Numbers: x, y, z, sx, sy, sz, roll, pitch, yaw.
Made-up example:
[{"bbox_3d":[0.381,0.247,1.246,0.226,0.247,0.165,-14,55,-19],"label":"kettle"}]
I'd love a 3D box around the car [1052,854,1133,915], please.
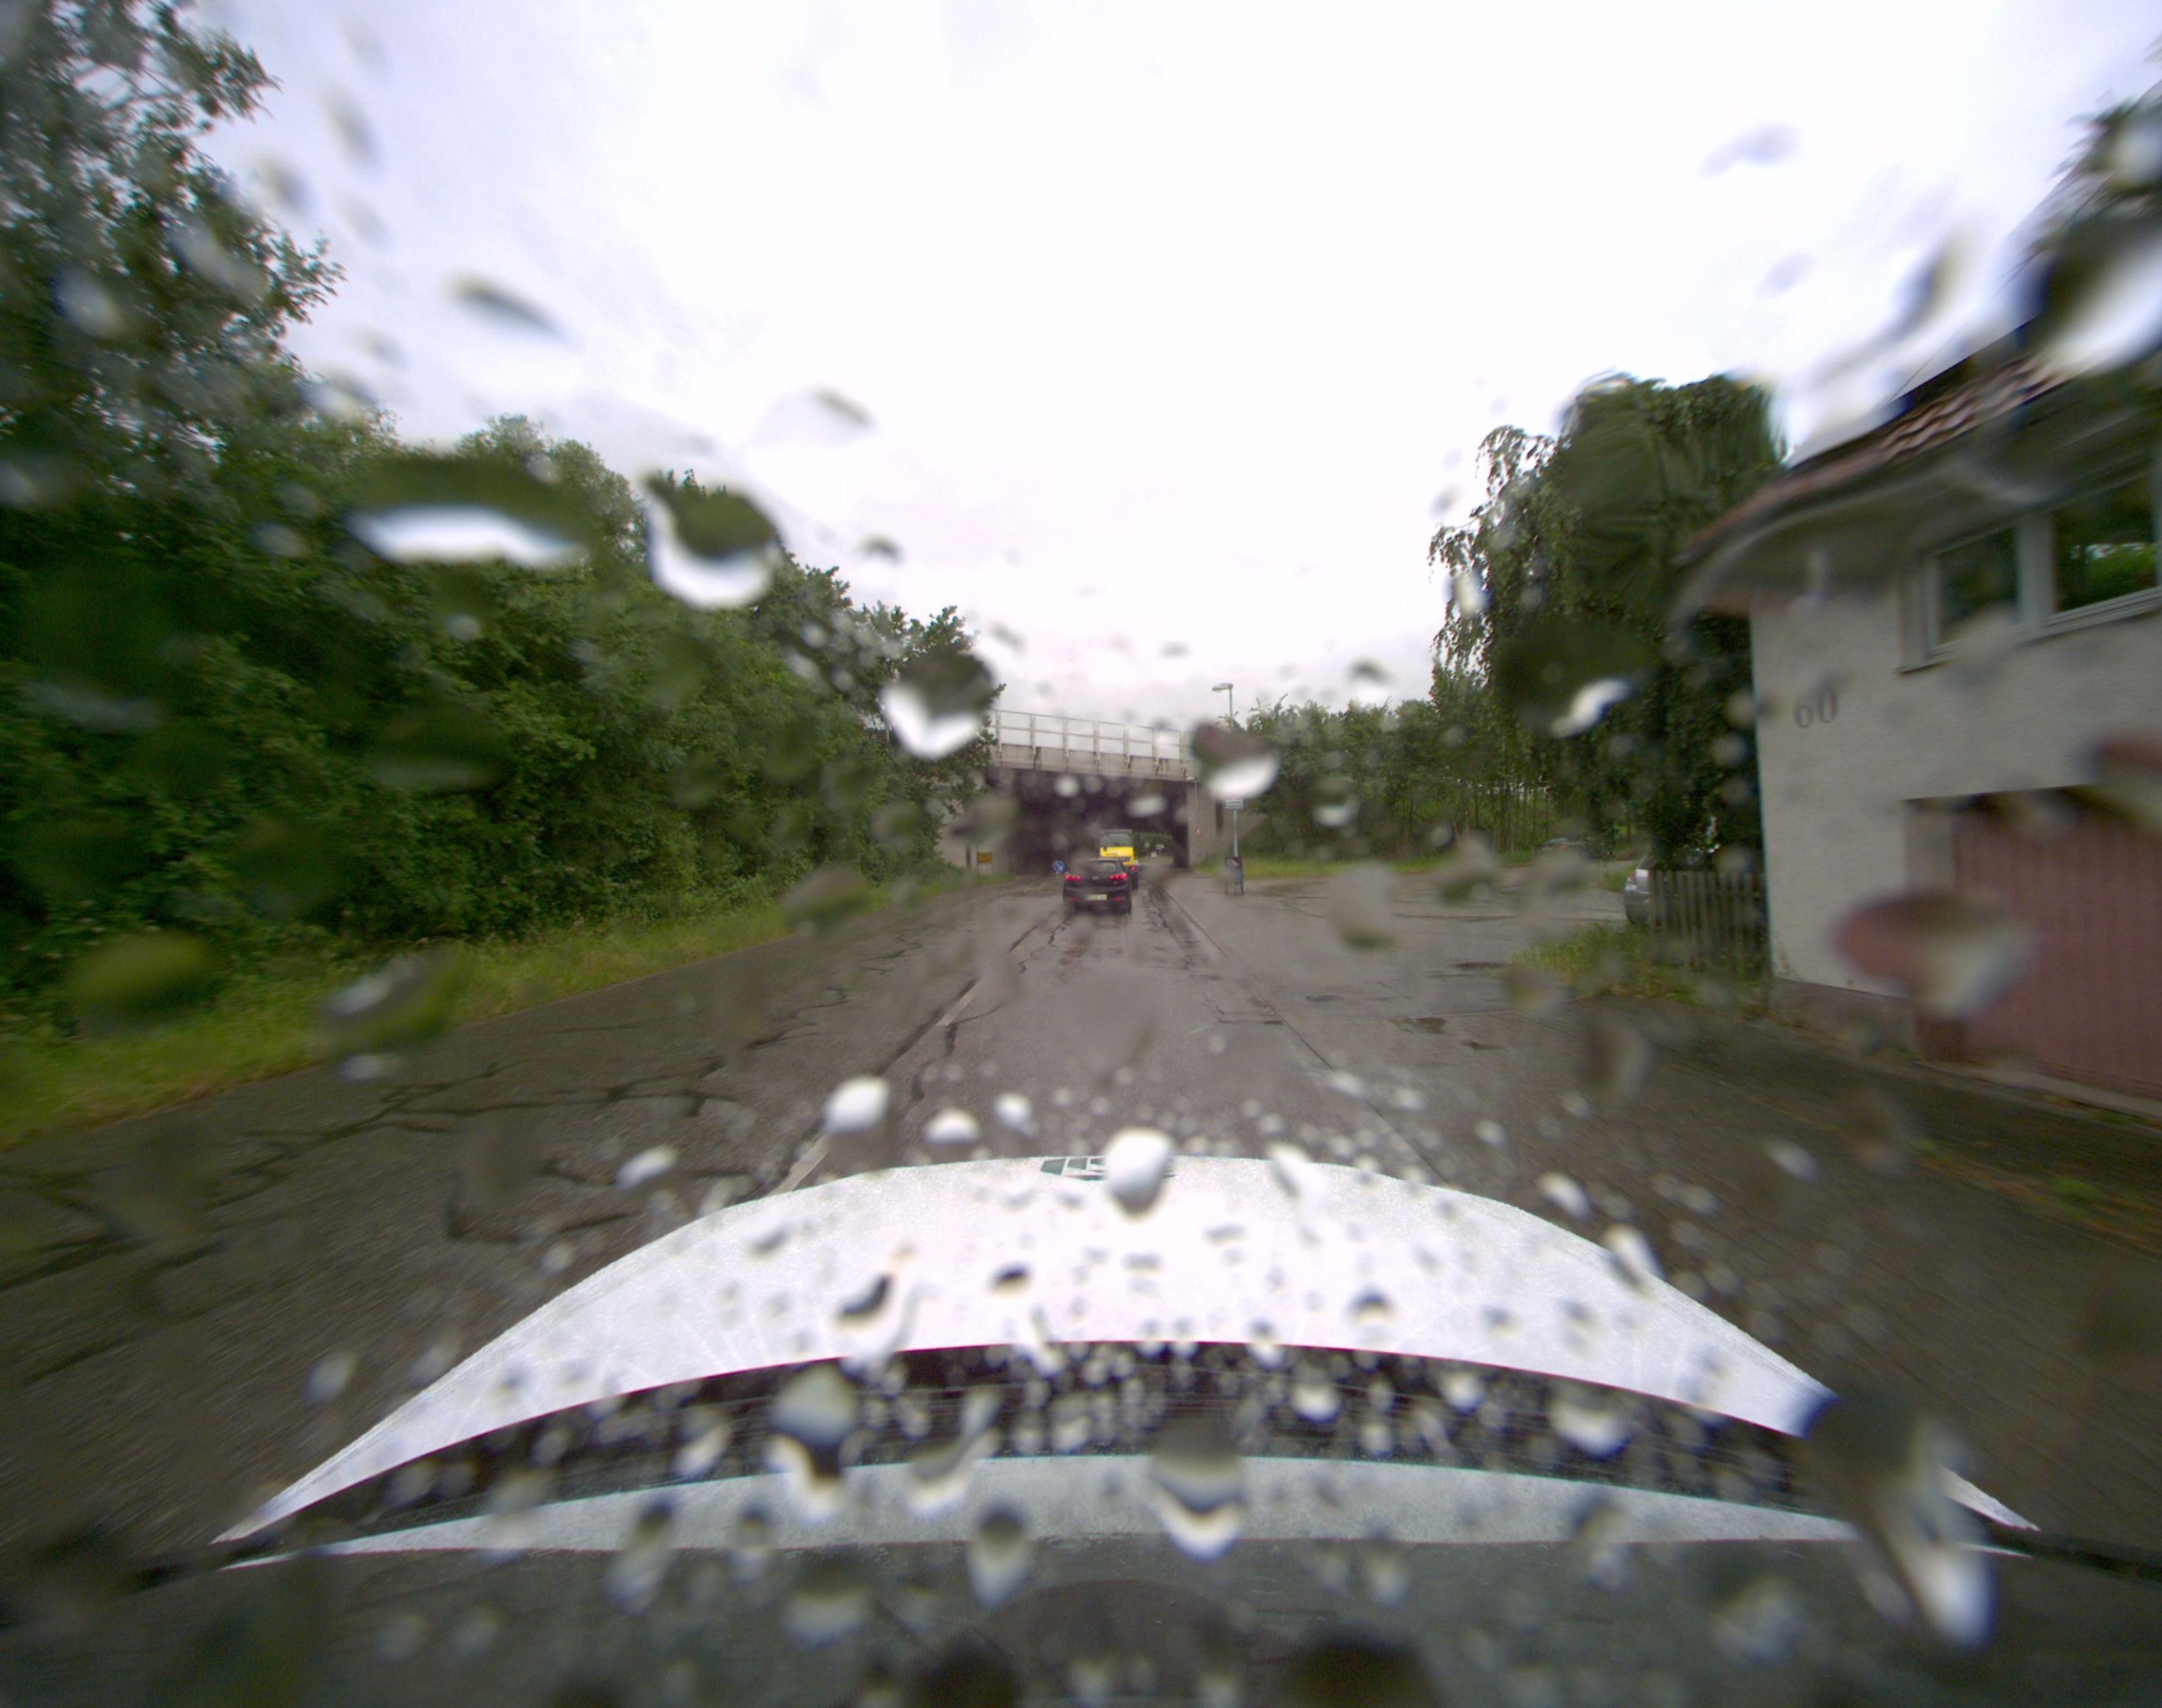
[{"bbox_3d":[0.346,0.756,21.995,1.986,1.487,4.001,0,-1,2],"label":"car"}]

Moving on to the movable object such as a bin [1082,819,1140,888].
[{"bbox_3d":[1.283,0.004,35.373,2.237,2.669,6.629,0,-1,2],"label":"movable object such as a bin"}]

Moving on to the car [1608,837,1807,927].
[{"bbox_3d":[12.040,0.475,15.614,3.868,1.532,1.703,0,-1,-30],"label":"car"}]

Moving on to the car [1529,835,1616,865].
[{"bbox_3d":[23.393,-0.180,38.748,4.125,1.359,1.886,0,-1,-32],"label":"car"}]
